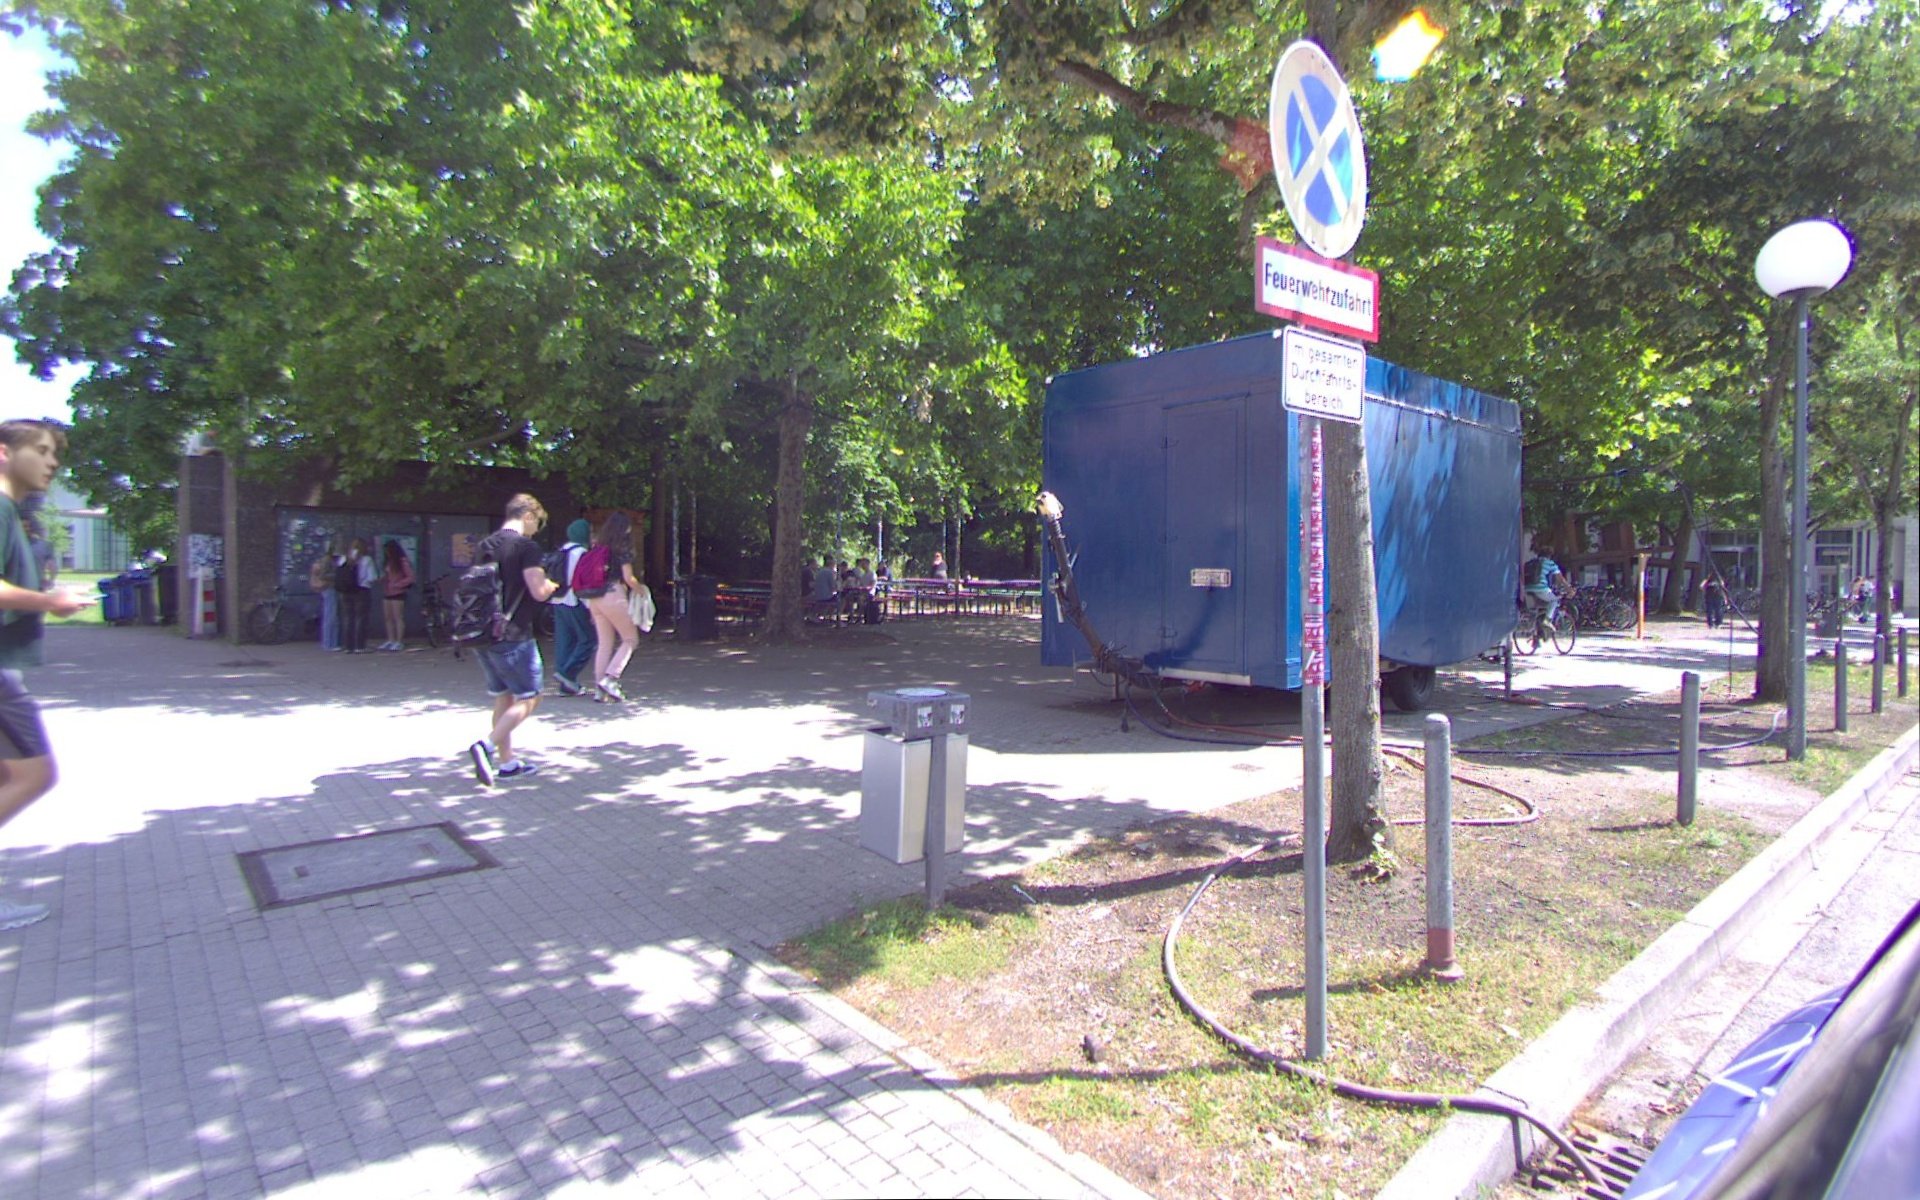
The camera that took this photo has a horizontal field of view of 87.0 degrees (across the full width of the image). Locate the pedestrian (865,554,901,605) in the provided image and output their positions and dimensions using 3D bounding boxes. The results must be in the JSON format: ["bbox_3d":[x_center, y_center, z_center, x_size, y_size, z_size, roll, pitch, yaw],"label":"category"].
[{"bbox_3d":[-2.050,-0.545,26.798,0.612,1.286,0.667,0,4,-45],"label":"pedestrian"}]

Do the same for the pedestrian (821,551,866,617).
[{"bbox_3d":[-2.499,-0.343,21.717,0.570,1.363,0.717,6,4,45],"label":"pedestrian"}]

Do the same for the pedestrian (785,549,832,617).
[{"bbox_3d":[-3.193,-0.360,21.301,0.570,1.363,0.717,6,4,45],"label":"pedestrian"}]

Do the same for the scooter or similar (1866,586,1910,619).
[{"bbox_3d":[33.483,0.082,36.505,1.333,1.128,0.498,2,1,-16],"label":"scooter or similar"}]

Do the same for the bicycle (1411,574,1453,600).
[{"bbox_3d":[22.938,-0.629,49.202,1.812,1.185,0.345,1,1,5],"label":"bicycle"}]

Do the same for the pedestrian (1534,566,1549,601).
[{"bbox_3d":[29.262,-0.825,50.906,0.427,1.724,0.929,0,-1,44],"label":"pedestrian"}]

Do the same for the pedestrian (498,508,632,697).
[{"bbox_3d":[-3.721,0.007,9.523,0.932,1.658,0.877,0,2,-41],"label":"pedestrian"}]

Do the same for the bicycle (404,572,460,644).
[{"bbox_3d":[-8.796,0.093,16.889,0.767,1.085,2.408,-1,2,-27],"label":"bicycle"}]

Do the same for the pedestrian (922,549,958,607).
[{"bbox_3d":[-0.575,-0.642,29.428,0.715,1.600,0.660,5,3,36],"label":"pedestrian"}]

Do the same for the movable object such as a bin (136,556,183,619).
[{"bbox_3d":[-17.250,-0.264,21.814,0.754,1.337,0.783,1,0,-41],"label":"movable object such as a bin"}]

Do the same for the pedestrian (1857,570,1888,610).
[{"bbox_3d":[42.544,-0.473,47.187,0.796,1.819,0.619,1,1,6],"label":"pedestrian"}]

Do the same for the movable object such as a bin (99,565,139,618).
[{"bbox_3d":[-21.612,-0.212,26.005,0.754,1.337,0.783,1,0,-41],"label":"movable object such as a bin"}]

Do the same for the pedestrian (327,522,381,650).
[{"bbox_3d":[-9.149,-0.209,15.290,0.547,1.906,0.530,0,0,-11],"label":"pedestrian"}]

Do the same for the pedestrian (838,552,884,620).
[{"bbox_3d":[-2.086,-0.296,21.297,0.570,1.363,0.717,6,4,45],"label":"pedestrian"}]

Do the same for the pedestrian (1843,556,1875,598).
[{"bbox_3d":[38.229,-0.975,43.033,0.737,1.762,0.935,-1,1,-44],"label":"pedestrian"}]

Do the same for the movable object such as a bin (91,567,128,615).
[{"bbox_3d":[-23.852,-0.248,28.388,0.754,1.337,0.783,1,0,-41],"label":"movable object such as a bin"}]

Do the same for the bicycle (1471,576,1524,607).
[{"bbox_3d":[21.729,-0.358,40.948,1.817,1.185,0.352,2,1,13],"label":"bicycle"}]

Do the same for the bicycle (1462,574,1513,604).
[{"bbox_3d":[21.923,-0.468,42.080,1.817,1.185,0.352,2,1,13],"label":"bicycle"}]

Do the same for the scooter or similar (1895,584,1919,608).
[{"bbox_3d":[49.977,-0.217,53.097,0.555,1.226,1.508,0,3,9],"label":"scooter or similar"}]

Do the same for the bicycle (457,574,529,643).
[{"bbox_3d":[-8.072,0.105,17.422,0.768,1.085,2.405,-1,2,-33],"label":"bicycle"}]

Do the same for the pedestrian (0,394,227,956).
[{"bbox_3d":[-3.522,0.242,3.712,0.847,1.883,1.105,1,1,29],"label":"pedestrian"}]

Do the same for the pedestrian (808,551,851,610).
[{"bbox_3d":[-3.124,-0.467,24.268,0.667,1.363,0.707,6,4,45],"label":"pedestrian"}]

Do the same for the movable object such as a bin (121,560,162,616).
[{"bbox_3d":[-20.080,-0.298,24.827,0.754,1.337,0.783,1,0,-41],"label":"movable object such as a bin"}]

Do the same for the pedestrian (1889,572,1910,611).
[{"bbox_3d":[43.317,-0.406,46.648,0.533,1.750,0.613,-1,2,-40],"label":"pedestrian"}]

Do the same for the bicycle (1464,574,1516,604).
[{"bbox_3d":[21.851,-0.452,41.731,1.817,1.185,0.352,2,1,13],"label":"bicycle"}]

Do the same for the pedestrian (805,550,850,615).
[{"bbox_3d":[-2.901,-0.390,22.133,0.570,1.363,0.717,6,4,45],"label":"pedestrian"}]

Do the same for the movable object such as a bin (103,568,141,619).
[{"bbox_3d":[-22.308,-0.166,26.928,0.754,1.337,0.783,1,0,-41],"label":"movable object such as a bin"}]

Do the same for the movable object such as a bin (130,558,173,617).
[{"bbox_3d":[-19.013,-0.290,23.799,0.754,1.337,0.783,1,0,-41],"label":"movable object such as a bin"}]

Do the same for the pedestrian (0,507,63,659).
[{"bbox_3d":[-12.111,-0.223,13.078,0.719,1.906,0.834,1,1,-44],"label":"pedestrian"}]

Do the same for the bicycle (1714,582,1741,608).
[{"bbox_3d":[34.132,-0.234,44.995,1.486,1.099,0.482,2,2,-36],"label":"bicycle"}]

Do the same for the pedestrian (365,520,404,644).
[{"bbox_3d":[-9.032,-0.285,15.871,0.519,1.906,0.449,0,0,-31],"label":"pedestrian"}]

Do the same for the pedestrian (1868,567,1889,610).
[{"bbox_3d":[41.940,-0.538,46.207,0.675,1.914,0.685,-2,2,-44],"label":"pedestrian"}]

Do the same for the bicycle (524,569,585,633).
[{"bbox_3d":[-7.387,-0.003,18.372,0.767,1.085,2.407,-1,1,-28],"label":"bicycle"}]

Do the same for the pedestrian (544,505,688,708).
[{"bbox_3d":[-3.029,0.020,8.910,0.932,1.658,0.877,-2,3,-41],"label":"pedestrian"}]

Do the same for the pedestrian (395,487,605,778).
[{"bbox_3d":[-2.753,0.164,6.139,0.835,1.615,0.829,2,2,6],"label":"pedestrian"}]

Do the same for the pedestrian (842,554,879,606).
[{"bbox_3d":[-2.566,-0.518,26.109,0.612,1.286,0.667,0,4,-45],"label":"pedestrian"}]

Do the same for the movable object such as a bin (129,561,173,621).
[{"bbox_3d":[-18.381,-0.199,22.993,0.754,1.337,0.783,1,0,-41],"label":"movable object such as a bin"}]

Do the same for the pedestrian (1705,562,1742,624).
[{"bbox_3d":[20.691,-0.198,27.425,0.911,1.590,0.570,-5,6,-40],"label":"pedestrian"}]

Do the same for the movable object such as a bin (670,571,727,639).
[{"bbox_3d":[-4.388,0.064,16.974,0.729,1.084,0.600,-3,3,-40],"label":"movable object such as a bin"}]

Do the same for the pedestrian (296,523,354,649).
[{"bbox_3d":[-9.841,-0.230,15.692,0.523,1.905,0.555,2,3,21],"label":"pedestrian"}]

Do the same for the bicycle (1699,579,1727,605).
[{"bbox_3d":[33.609,-0.361,45.183,1.664,1.099,0.482,2,2,-36],"label":"bicycle"}]

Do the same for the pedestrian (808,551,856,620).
[{"bbox_3d":[-2.622,-0.294,20.725,0.570,1.363,0.717,6,4,45],"label":"pedestrian"}]
